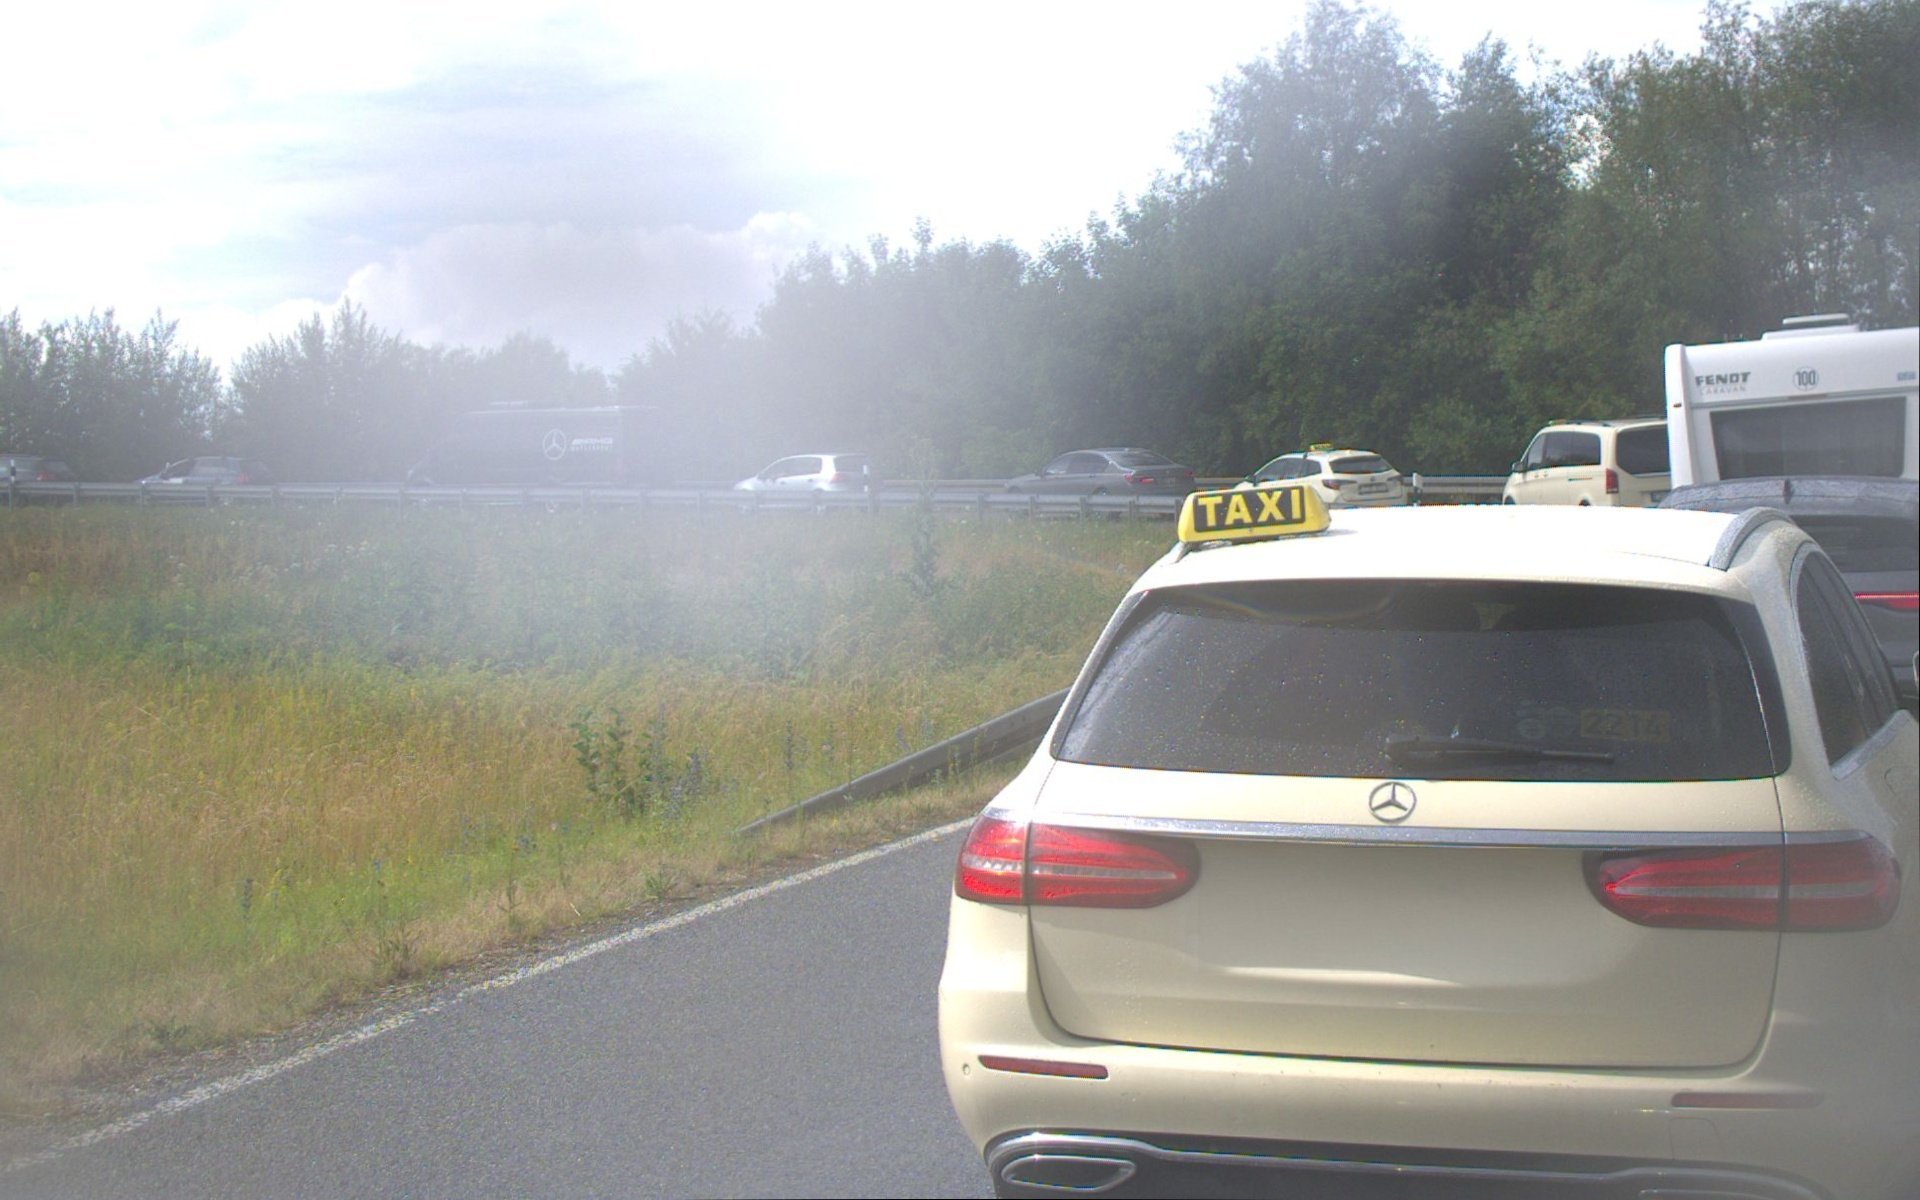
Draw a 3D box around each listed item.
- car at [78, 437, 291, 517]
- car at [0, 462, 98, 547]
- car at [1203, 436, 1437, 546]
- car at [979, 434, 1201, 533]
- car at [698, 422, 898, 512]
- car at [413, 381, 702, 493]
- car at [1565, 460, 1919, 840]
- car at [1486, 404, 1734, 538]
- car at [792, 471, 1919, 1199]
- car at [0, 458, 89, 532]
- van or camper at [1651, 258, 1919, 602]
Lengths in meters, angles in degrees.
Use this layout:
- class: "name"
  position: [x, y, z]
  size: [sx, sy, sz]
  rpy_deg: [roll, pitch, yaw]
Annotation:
- class: "car"
  position: [-20.238, -3.189, 89.709]
  size: [5.045, 1.855, 1.998]
  rpy_deg: [-2, 0, 17]
- class: "car"
  position: [-25.542, -2.565, 92.554]
  size: [3.992, 2.006, 1.998]
  rpy_deg: [0, 8, 26]
- class: "car"
  position: [6.601, -1.988, 63.632]
  size: [1.993, 1.855, 5.058]
  rpy_deg: [-2, 1, -24]
- class: "car"
  position: [2.691, -2.434, 72.347]
  size: [1.994, 1.855, 5.056]
  rpy_deg: [-2, 0, -35]
- class: "car"
  position: [-3.839, -3.096, 80.574]
  size: [1.994, 1.855, 5.055]
  rpy_deg: [-2, 0, -40]
- class: "car"
  position: [-10.044, -4.019, 85.533]
  size: [6.975, 2.586, 2.869]
  rpy_deg: [0, 2, 36]
- class: "car"
  position: [3.991, 0.168, 15.827]
  size: [1.720, 1.519, 3.996]
  rpy_deg: [-1, 1, 20]
- class: "car"
  position: [9.995, -1.954, 53.308]
  size: [1.993, 1.855, 5.059]
  rpy_deg: [-2, 0, -11]
- class: "car"
  position: [1.281, 0.484, 7.719]
  size: [1.917, 1.502, 4.593]
  rpy_deg: [1, 3, 16]
- class: "car"
  position: [-26.167, -2.759, 92.213]
  size: [5.044, 1.855, 1.999]
  rpy_deg: [-2, 0, 14]
- class: "van or camper"
  position: [7.709, -1.363, 30.309]
  size: [2.433, 2.720, 5.996]
  rpy_deg: [0, 0, 19]
